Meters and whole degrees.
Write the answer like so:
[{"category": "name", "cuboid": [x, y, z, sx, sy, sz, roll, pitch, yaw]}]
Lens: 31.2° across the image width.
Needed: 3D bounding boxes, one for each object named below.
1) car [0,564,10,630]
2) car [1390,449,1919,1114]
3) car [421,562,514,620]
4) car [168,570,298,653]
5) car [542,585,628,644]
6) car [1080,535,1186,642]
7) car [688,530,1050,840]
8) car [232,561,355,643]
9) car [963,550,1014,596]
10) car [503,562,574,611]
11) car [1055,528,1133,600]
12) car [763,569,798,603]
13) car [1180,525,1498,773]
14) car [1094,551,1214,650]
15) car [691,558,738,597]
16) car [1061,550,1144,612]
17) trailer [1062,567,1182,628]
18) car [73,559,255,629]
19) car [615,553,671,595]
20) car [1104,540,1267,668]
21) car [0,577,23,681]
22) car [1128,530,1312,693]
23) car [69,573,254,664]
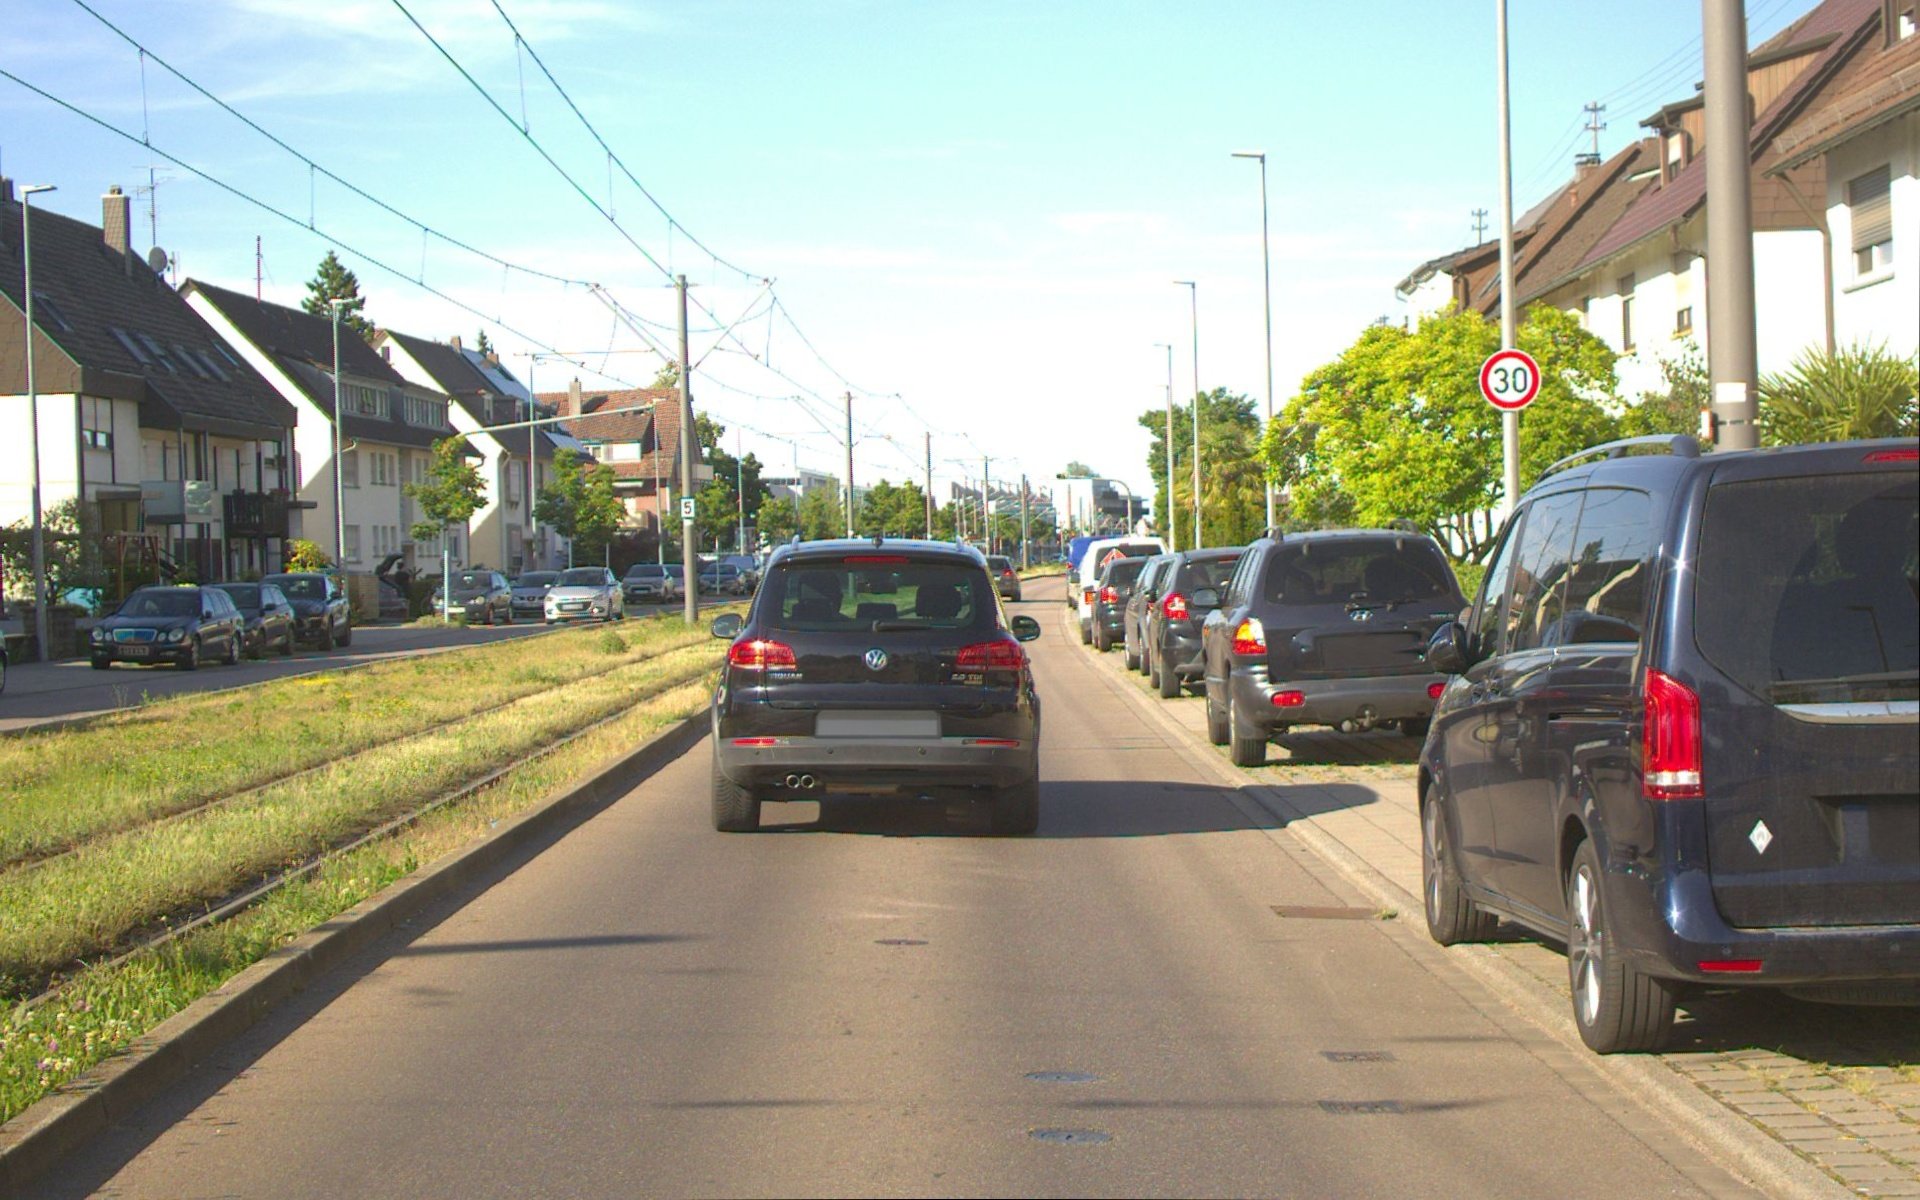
[{"category": "car", "cuboid": [-26.180, -0.005, 86.138, 4.159, 1.648, 1.857, -2, 1, 4]}, {"category": "car", "cuboid": [2.827, 0.457, 12.042, 1.961, 1.830, 4.927, -2, 1, 0]}, {"category": "car", "cuboid": [-13.411, -0.270, 93.736, 1.619, 1.448, 3.717, -2, 1, 6]}, {"category": "car", "cuboid": [-14.088, 0.197, 66.791, 1.520, 1.470, 4.201, -1, 1, 1]}, {"category": "car", "cuboid": [-9.988, 0.410, 91.788, 1.708, 1.485, 4.024, -2, -1, 1]}, {"category": "car", "cuboid": [3.013, -0.232, 60.538, 1.690, 1.770, 4.655, -2, 1, 1]}, {"category": "car", "cuboid": [-0.654, 0.447, 20.647, 1.811, 1.665, 4.258, 0, 0, -6]}, {"category": "car", "cuboid": [-13.975, 0.017, 72.309, 1.802, 1.591, 4.813, -2, 1, -2]}, {"category": "car", "cuboid": [0.926, -0.865, 109.614, 1.572, 1.386, 3.614, -2, 1, 1]}, {"category": "car", "cuboid": [-13.026, -0.403, 106.477, 1.619, 1.404, 3.717, -2, -1, 1]}, {"category": "car", "cuboid": [3.637, -0.992, 93.887, 1.993, 1.855, 4.917, -2, 1, 1]}, {"category": "car", "cuboid": [-9.104, -0.702, 174.690, 1.465, 1.671, 3.287, -2, 0, 1]}, {"category": "car", "cuboid": [2.759, 0.304, 25.948, 1.854, 1.653, 4.473, -2, 1, 0]}, {"category": "car", "cuboid": [3.042, -0.009, 54.570, 1.671, 1.448, 4.126, -2, 0, 1]}, {"category": "car", "cuboid": [-10.849, -0.983, 151.943, 1.660, 1.576, 4.000, -2, -1, 1]}, {"category": "car", "cuboid": [3.594, -0.497, 87.519, 1.786, 1.436, 4.459, -3, 1, -1]}, {"category": "trailer", "cuboid": [3.300, -0.077, 70.786, 2.204, 1.090, 4.372, -3, 1, 0]}, {"category": "car", "cuboid": [-19.954, -0.159, 86.255, 4.165, 1.611, 1.760, -2, 1, -3]}, {"category": "car", "cuboid": [-11.938, -0.997, 129.595, 1.659, 1.491, 3.579, -2, 1, 1]}, {"category": "car", "cuboid": [2.761, 0.032, 42.856, 1.615, 1.470, 4.450, -2, 0, -1]}, {"category": "car", "cuboid": [-14.402, 0.452, 47.217, 1.790, 1.458, 4.166, -2, 1, 1]}, {"category": "car", "cuboid": [2.711, 0.090, 36.541, 1.666, 1.542, 3.835, -4, 1, 2]}, {"category": "car", "cuboid": [-14.169, 0.294, 61.279, 1.877, 1.517, 4.880, -1, 1, 3]}]
